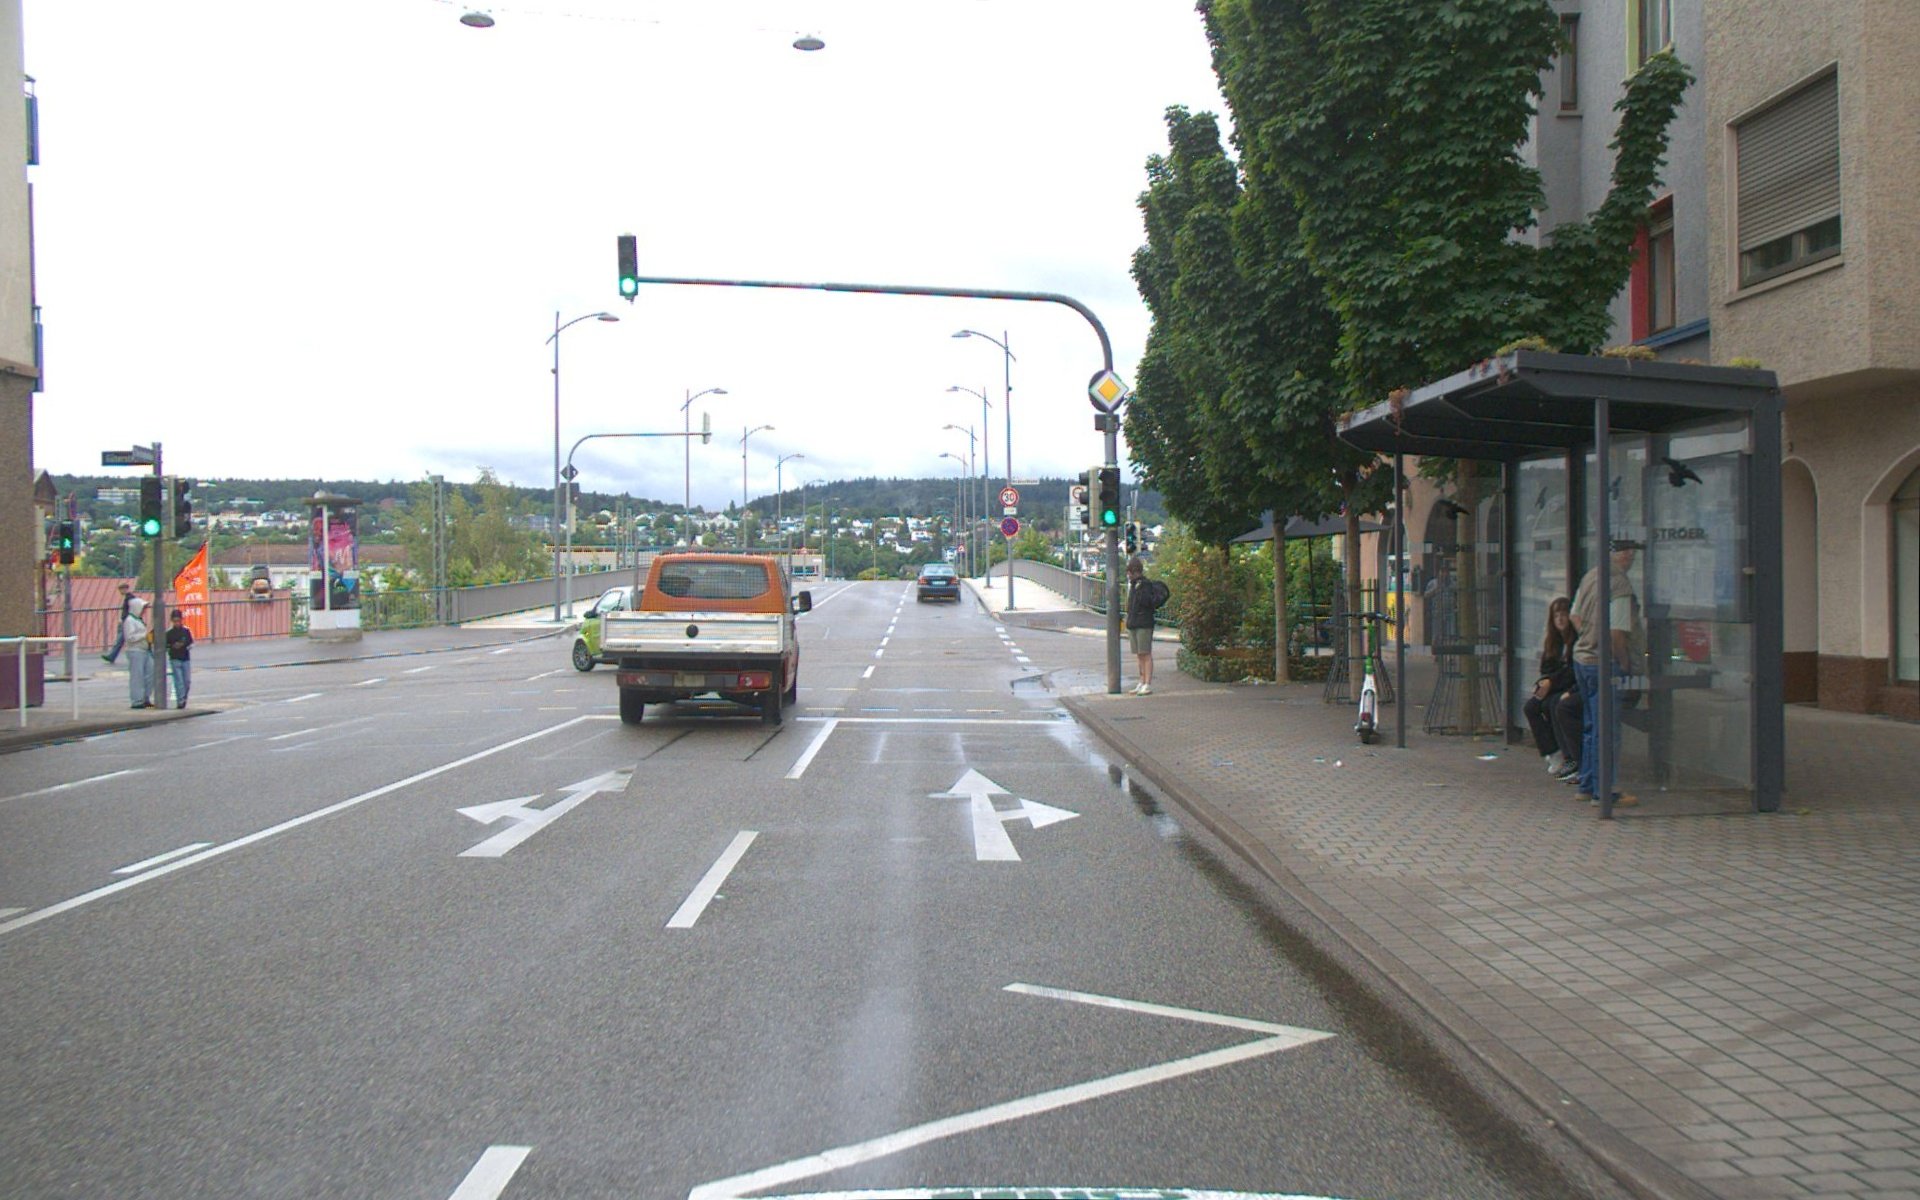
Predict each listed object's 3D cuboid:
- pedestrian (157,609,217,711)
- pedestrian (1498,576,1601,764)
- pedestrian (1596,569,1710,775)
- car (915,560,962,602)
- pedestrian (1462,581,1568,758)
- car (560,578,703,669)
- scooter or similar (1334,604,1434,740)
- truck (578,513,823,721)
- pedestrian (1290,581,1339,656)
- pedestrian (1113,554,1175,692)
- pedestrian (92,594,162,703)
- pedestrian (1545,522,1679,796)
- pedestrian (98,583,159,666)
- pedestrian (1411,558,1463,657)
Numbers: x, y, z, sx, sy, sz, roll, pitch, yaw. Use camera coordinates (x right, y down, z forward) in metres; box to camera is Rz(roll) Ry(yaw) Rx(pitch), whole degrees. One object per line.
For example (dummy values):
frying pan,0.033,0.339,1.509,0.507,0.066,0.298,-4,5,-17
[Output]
pedestrian,-10.919,0.837,23.380,0.533,1.412,0.649,-1,0,-1
pedestrian,4.434,0.514,12.463,0.523,1.373,0.596,-1,0,-2
pedestrian,4.922,0.500,11.771,0.552,1.421,0.513,-1,0,-4
car,-0.840,-0.708,63.579,1.718,1.505,3.999,-1,0,-1
pedestrian,4.398,0.535,13.131,0.594,1.359,0.625,-1,0,-2
car,-6.054,0.422,30.361,1.516,1.574,2.628,-1,0,-39
scooter or similar,3.949,0.641,15.493,0.500,1.193,1.549,-1,0,-1
truck,-2.983,0.183,20.274,2.352,2.167,5.312,-1,0,-3
pedestrian,5.857,0.306,27.311,0.651,1.210,0.556,-1,0,-3
pedestrian,2.542,0.314,22.894,0.718,1.873,0.630,-1,0,-3
pedestrian,-11.561,0.665,22.965,0.629,1.483,0.660,-1,0,-3
pedestrian,4.249,0.375,10.815,0.606,1.729,0.656,-1,0,3
pedestrian,-18.548,0.542,36.876,1.060,1.788,1.050,-1,0,-36
pedestrian,7.884,0.126,27.358,0.630,1.598,0.725,-1,0,2
